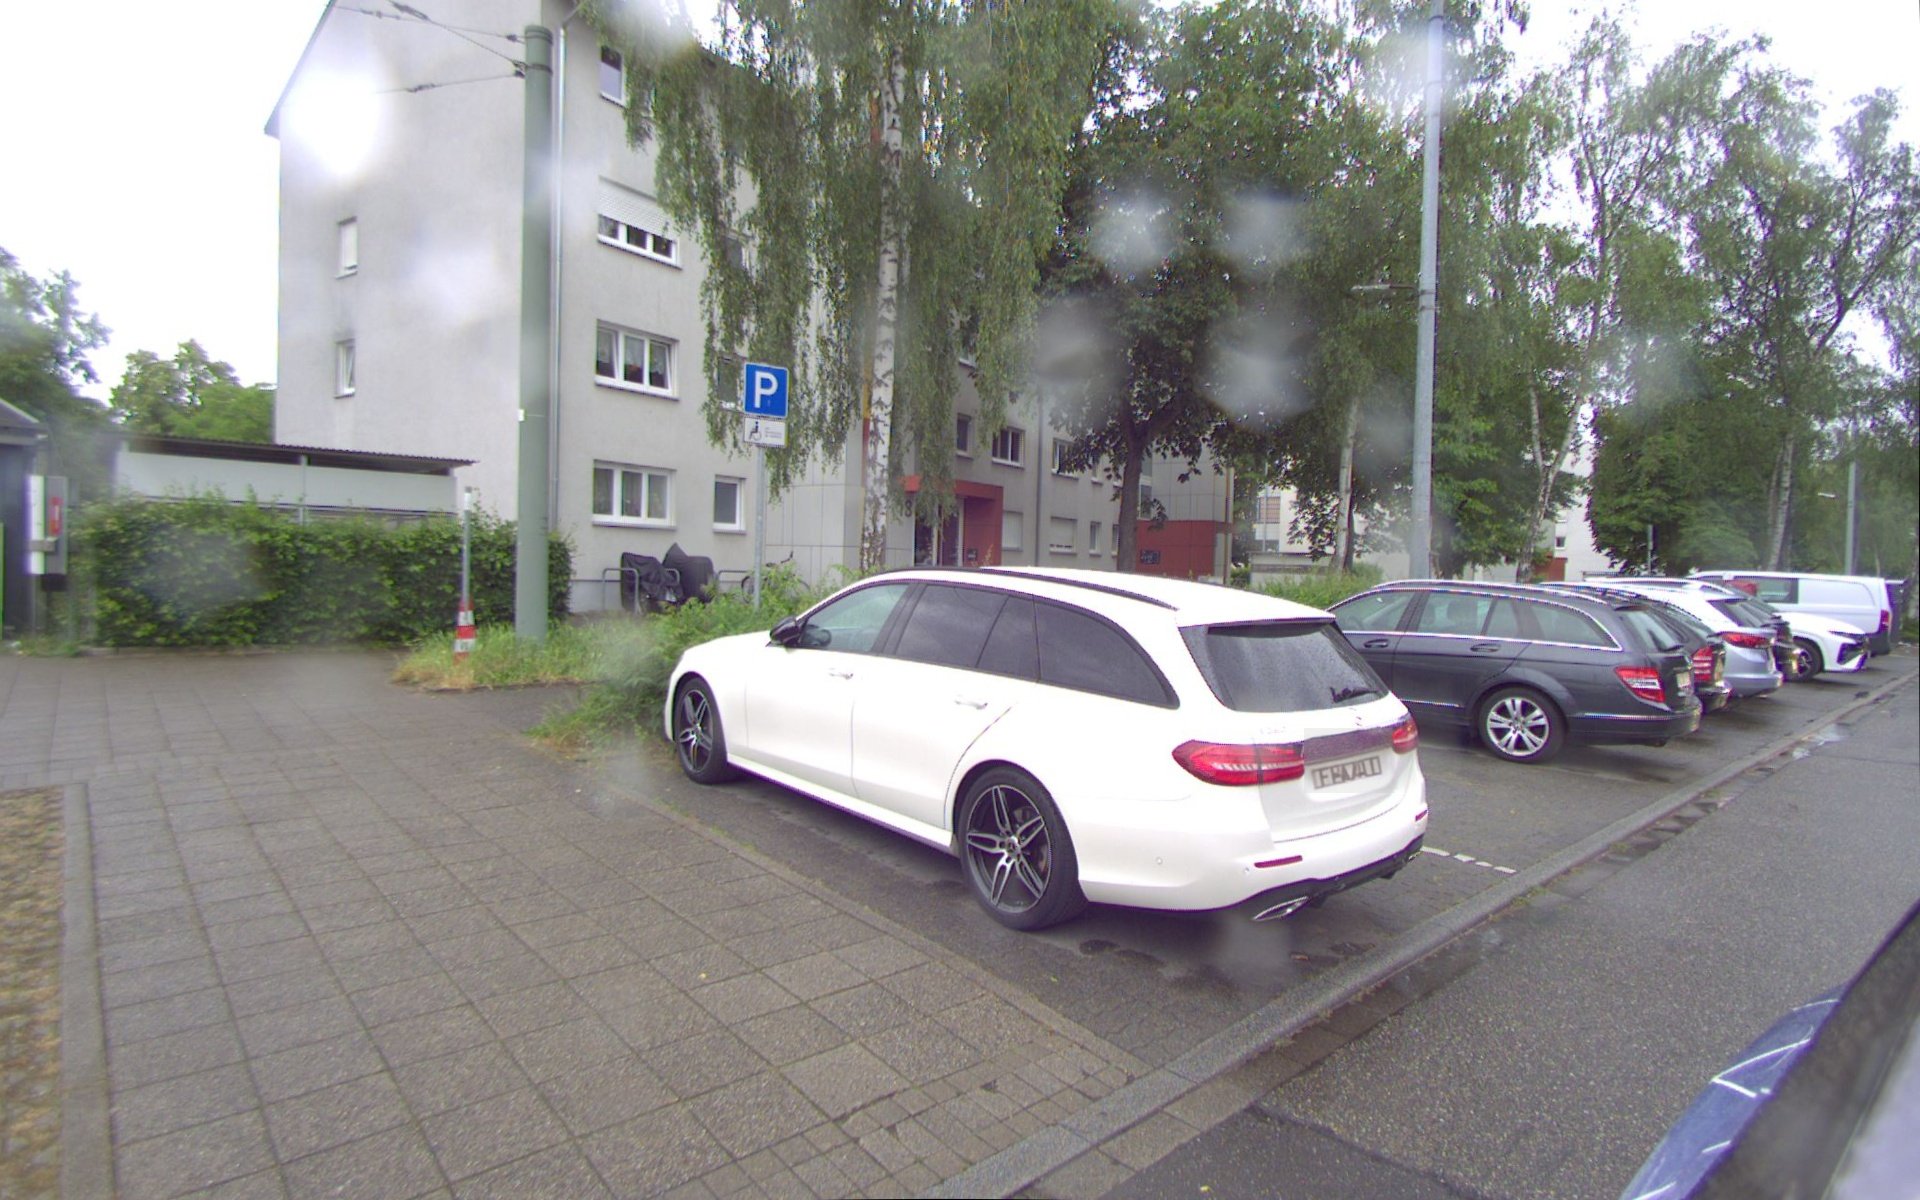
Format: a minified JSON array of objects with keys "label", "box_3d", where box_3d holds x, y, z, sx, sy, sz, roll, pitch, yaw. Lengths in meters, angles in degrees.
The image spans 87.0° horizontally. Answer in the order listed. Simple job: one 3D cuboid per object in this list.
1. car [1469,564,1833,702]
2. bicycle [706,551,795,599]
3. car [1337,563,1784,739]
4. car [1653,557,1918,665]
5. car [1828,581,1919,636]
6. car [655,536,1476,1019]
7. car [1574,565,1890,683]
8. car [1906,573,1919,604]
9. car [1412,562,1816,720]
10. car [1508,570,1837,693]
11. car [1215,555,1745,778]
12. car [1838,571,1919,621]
[{"label":"car","box_3d":[9.868,0.351,14.690,1.653,1.514,4.044,-1,5,-43]},{"label":"bicycle","box_3d":[-4.520,-0.534,21.977,0.701,1.005,1.918,0,0,37]},{"label":"car","box_3d":[6.648,0.414,11.547,1.653,1.456,4.044,-1,5,-43]},{"label":"car","box_3d":[17.553,0.137,21.669,4.172,1.888,1.654,6,5,43]},{"label":"car","box_3d":[34.429,0.279,36.816,1.866,1.937,3.998,-1,1,-36]},{"label":"car","box_3d":[0.085,0.471,5.618,1.651,1.456,4.622,-1,5,-41]},{"label":"car","box_3d":[13.698,0.319,18.184,1.651,1.637,4.181,0,5,-40]},{"label":"car","box_3d":[53.225,-0.625,53.811,1.866,1.701,3.998,-1,1,-36]},{"label":"car","box_3d":[8.258,0.380,13.058,1.653,1.514,4.044,-1,5,-43]},{"label":"car","box_3d":[11.361,0.397,16.358,1.653,1.514,4.044,-1,5,-43]},{"label":"car","box_3d":[4.618,0.416,9.467,1.653,1.456,4.044,-1,5,-43]},{"label":"car","box_3d":[37.763,-0.154,40.237,1.866,1.937,3.998,-1,1,-36]}]
